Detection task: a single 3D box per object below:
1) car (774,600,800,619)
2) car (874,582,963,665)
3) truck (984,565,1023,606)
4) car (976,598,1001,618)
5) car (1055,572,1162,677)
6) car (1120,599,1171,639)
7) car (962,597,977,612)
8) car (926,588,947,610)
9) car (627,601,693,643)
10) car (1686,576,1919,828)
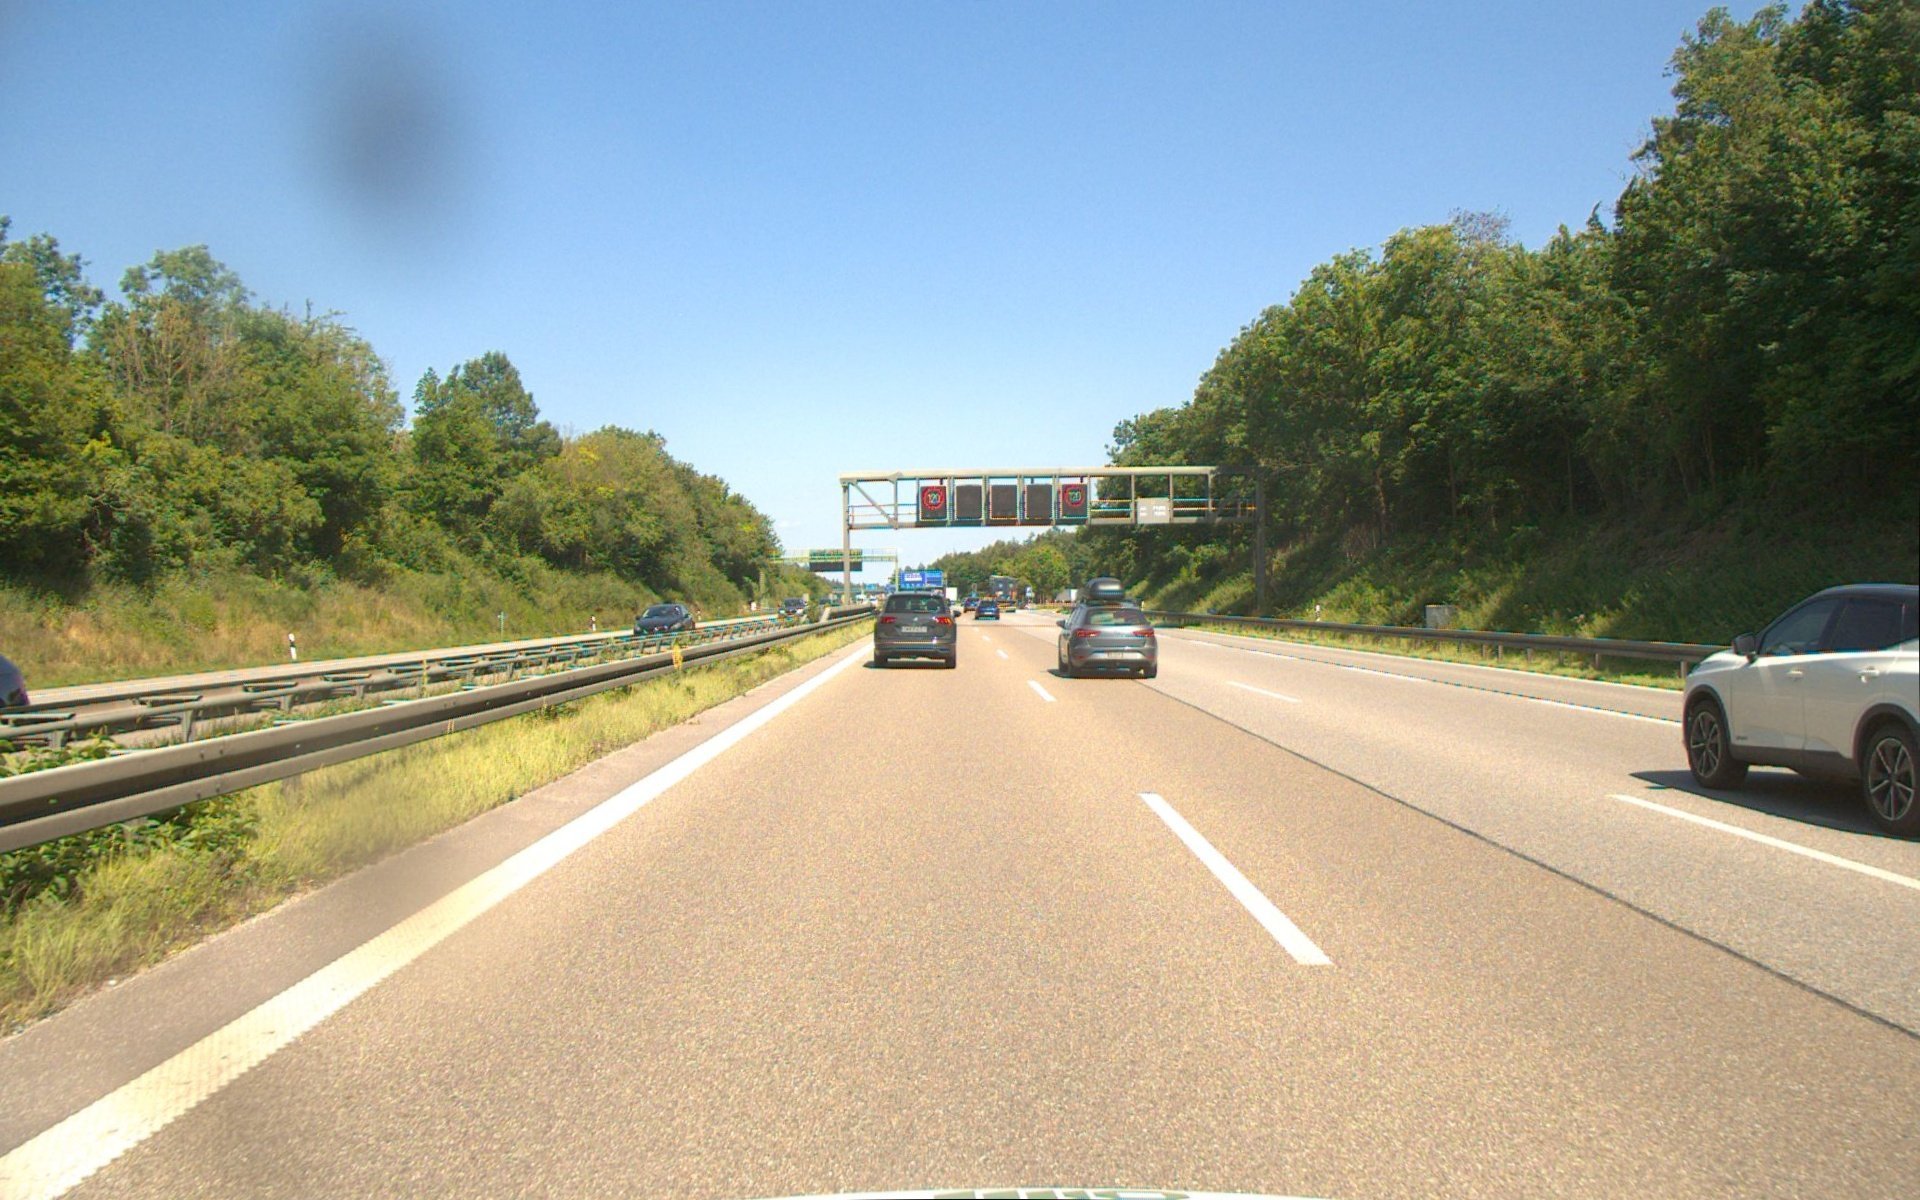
[{"bbox_3d":[-11.736,0.658,112.454,1.449,1.231,3.457,-1,0,-1],"label":"car"},{"bbox_3d":[-0.869,0.486,36.597,1.762,1.698,4.259,1,0,1],"label":"car"},{"bbox_3d":[4.840,-1.583,187.075,3.704,4.499,14.046,0,0,-2],"label":"truck"},{"bbox_3d":[2.060,0.579,119.891,1.728,1.406,4.259,1,0,1],"label":"car"},{"bbox_3d":[2.898,0.446,33.131,1.631,1.909,4.827,-1,0,0],"label":"car"},{"bbox_3d":[7.876,0.772,70.503,1.728,1.595,4.259,1,0,1],"label":"car"},{"bbox_3d":[0.977,0.474,171.897,1.441,1.422,3.409,2,0,-2],"label":"car"},{"bbox_3d":[-2.243,-0.105,156.296,1.953,2.049,3.999,1,0,-1],"label":"car"},{"bbox_3d":[-10.838,0.764,59.963,1.678,1.422,4.149,-1,0,-1],"label":"car"},{"bbox_3d":[6.992,0.654,11.809,1.806,1.595,4.035,1,0,-1],"label":"car"}]
